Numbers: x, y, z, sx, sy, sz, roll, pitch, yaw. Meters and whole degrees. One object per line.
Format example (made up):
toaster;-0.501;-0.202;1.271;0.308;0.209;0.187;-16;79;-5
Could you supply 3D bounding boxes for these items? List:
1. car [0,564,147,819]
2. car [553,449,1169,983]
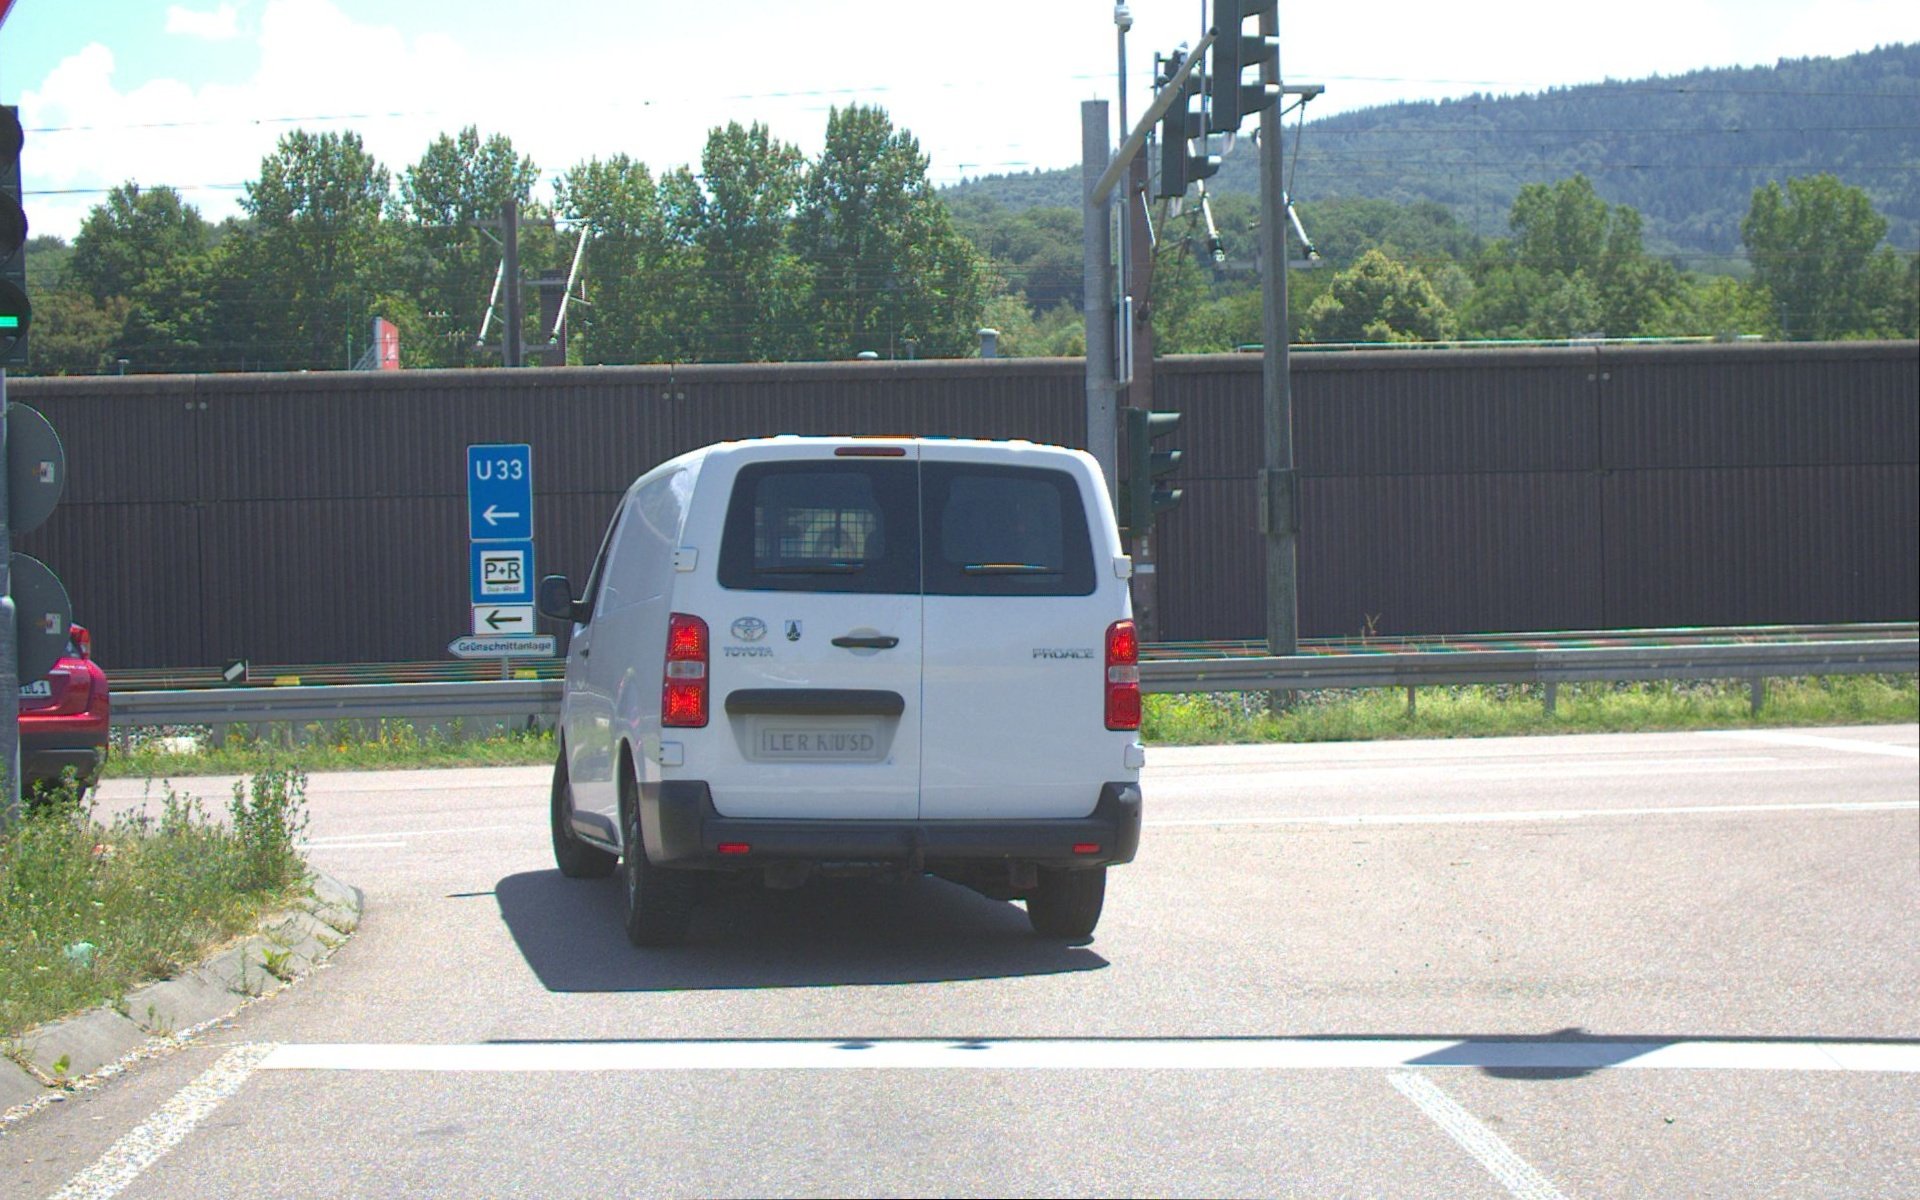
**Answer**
car;-7.687;0.652;23.655;4.136;1.644;1.908;-2;-1;39
car;-0.624;0.372;14.637;1.945;1.875;4.882;0;1;-10
